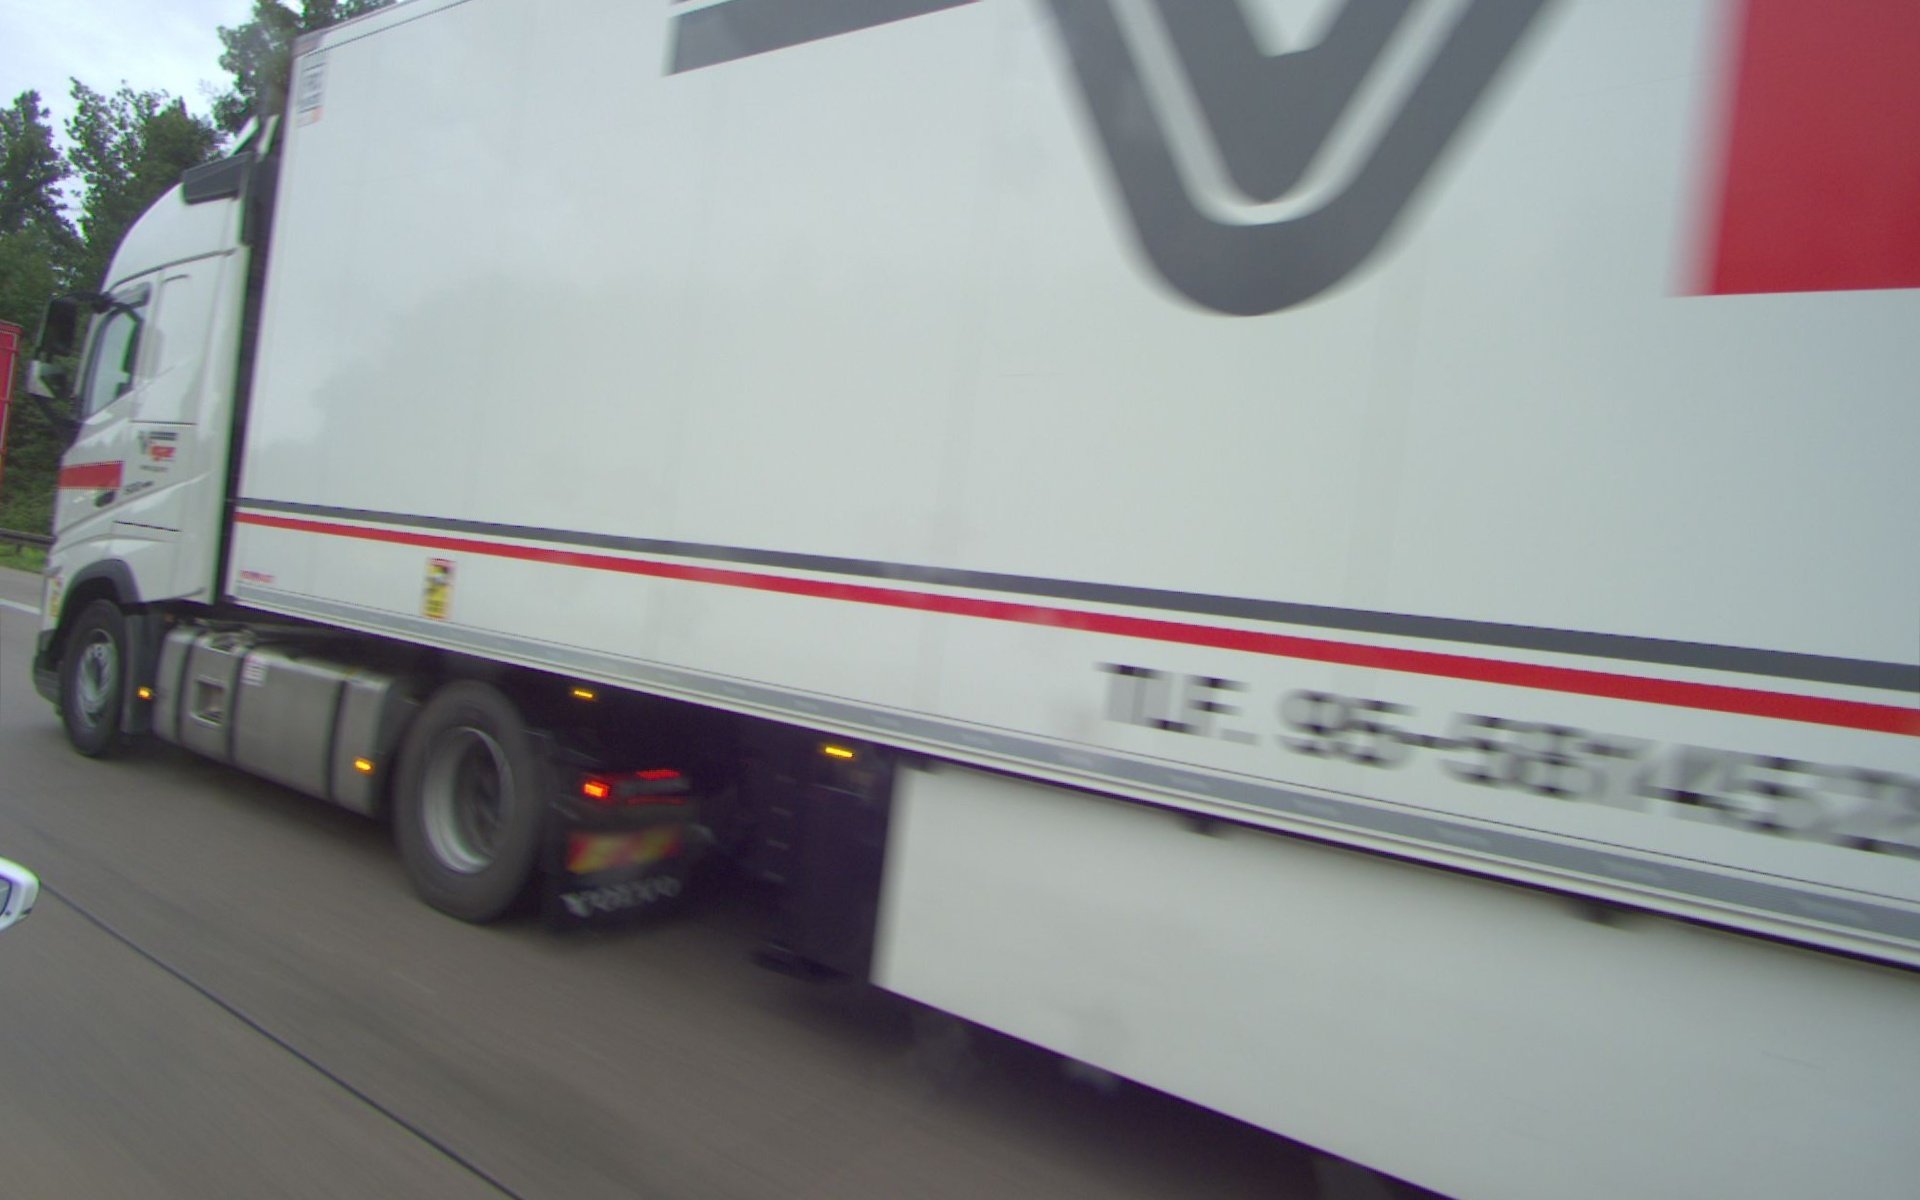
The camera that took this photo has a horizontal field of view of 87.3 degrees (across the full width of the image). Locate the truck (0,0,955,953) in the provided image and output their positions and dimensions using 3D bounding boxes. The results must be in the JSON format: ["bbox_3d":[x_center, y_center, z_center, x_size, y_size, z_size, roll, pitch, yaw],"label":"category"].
[{"bbox_3d":[-3.480,-0.916,6.448,5.868,4.152,2.804,7,-1,31],"label":"truck"}]

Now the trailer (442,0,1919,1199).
[{"bbox_3d":[4.707,0.036,1.563,13.452,4.152,2.739,7,-1,31],"label":"trailer"}]
